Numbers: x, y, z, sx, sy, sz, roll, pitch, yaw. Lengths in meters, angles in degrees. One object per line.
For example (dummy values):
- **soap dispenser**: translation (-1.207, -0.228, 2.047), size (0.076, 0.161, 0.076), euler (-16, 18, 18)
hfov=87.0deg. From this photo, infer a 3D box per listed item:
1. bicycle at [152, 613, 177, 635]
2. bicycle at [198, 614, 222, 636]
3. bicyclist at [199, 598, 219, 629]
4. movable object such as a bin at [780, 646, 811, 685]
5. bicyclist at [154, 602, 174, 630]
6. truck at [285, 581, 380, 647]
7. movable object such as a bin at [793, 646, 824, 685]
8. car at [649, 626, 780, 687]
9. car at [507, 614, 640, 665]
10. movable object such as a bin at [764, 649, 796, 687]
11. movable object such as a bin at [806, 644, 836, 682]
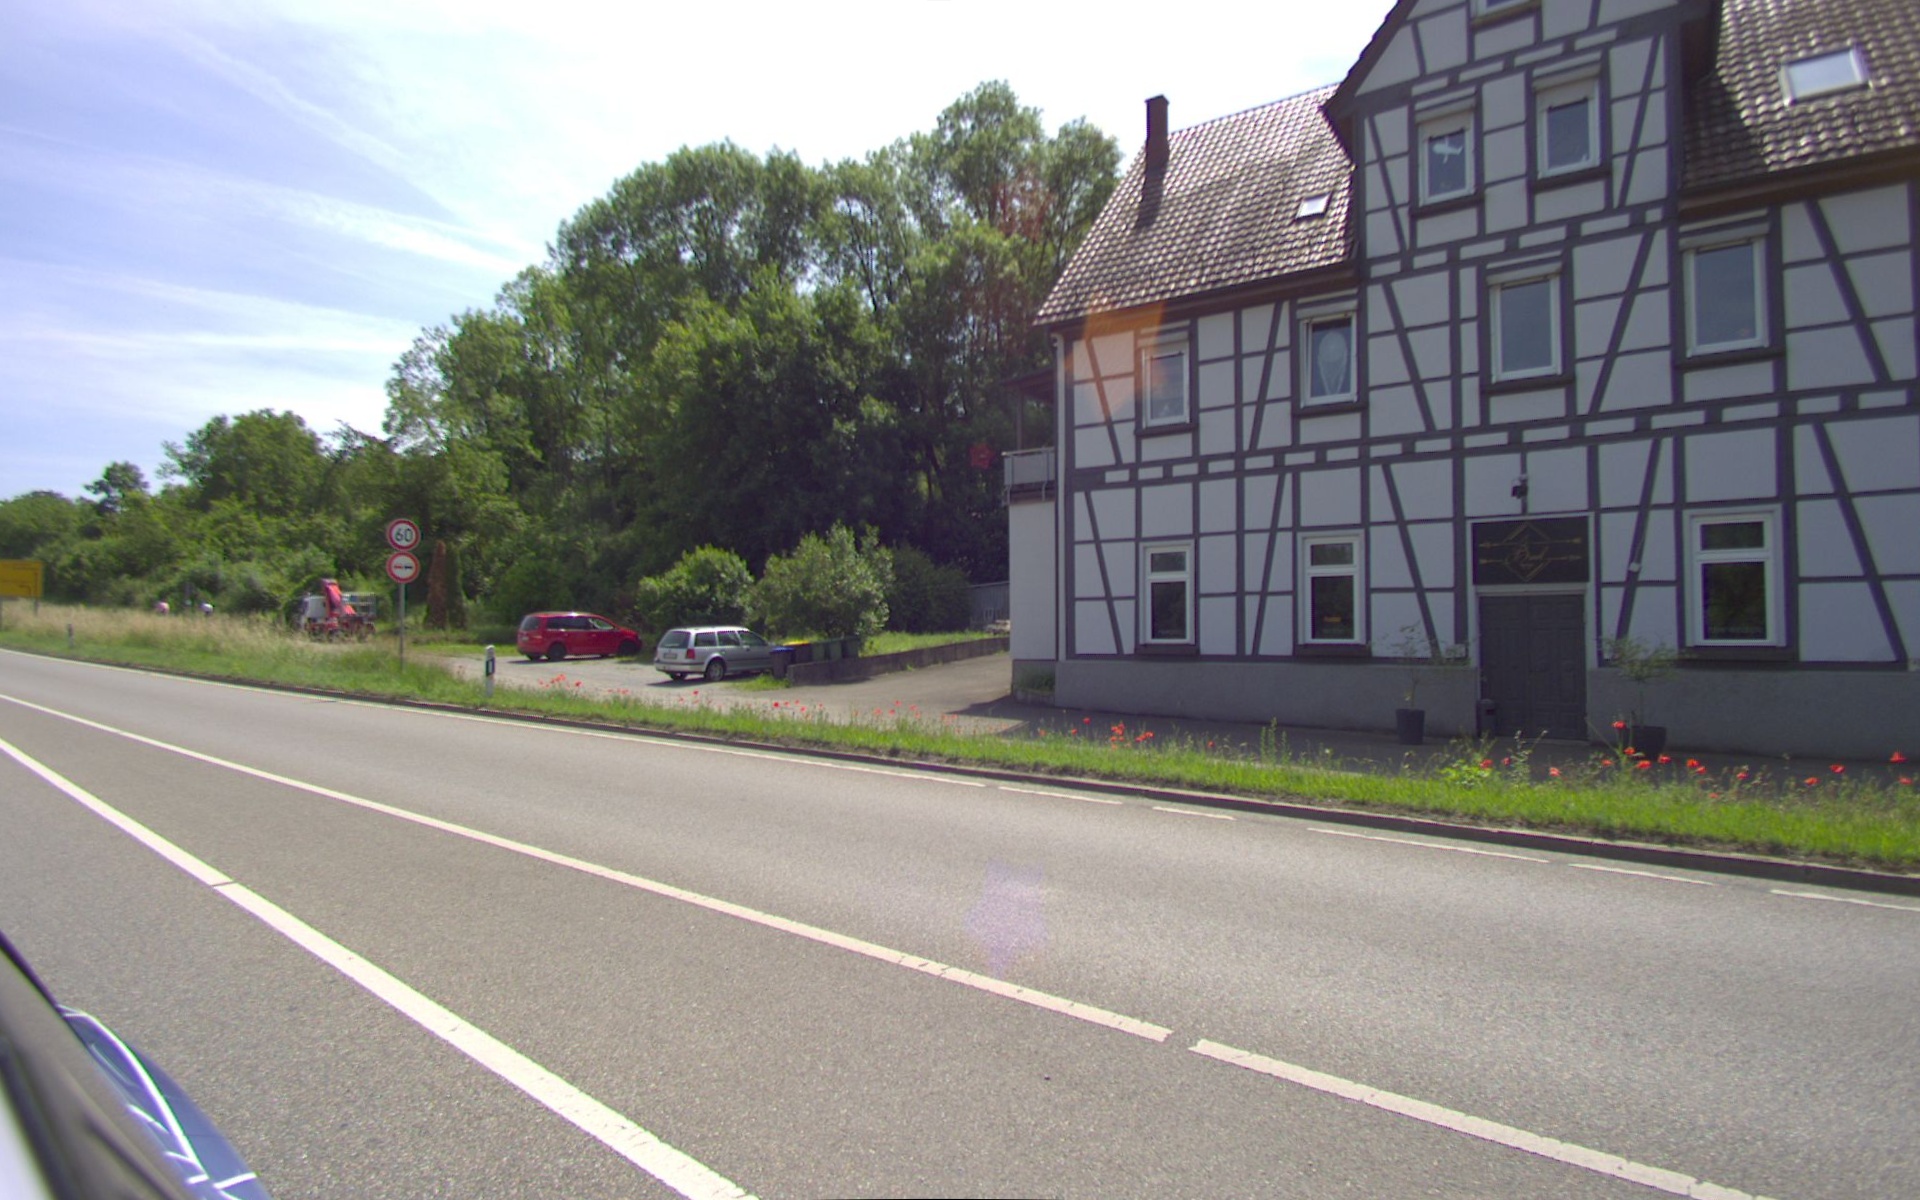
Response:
- **bicycle**: translation (-46.057, 1.388, 58.577), size (2.104, 1.221, 0.741), euler (0, 0, 41)
- **bicycle**: translation (-42.070, 1.368, 56.748), size (2.105, 1.189, 0.740), euler (0, 0, 43)
- **bicyclist**: translation (-42.166, 0.760, 56.838), size (0.936, 1.727, 0.740), euler (0, 0, 43)
- **movable object such as a bin**: translation (-4.381, 1.744, 26.960), size (0.653, 0.977, 0.499), euler (0, 0, 33)
- **bicyclist**: translation (-46.026, 0.934, 58.541), size (0.935, 1.607, 0.740), euler (0, 0, 41)
- **truck**: translation (-30.243, 0.643, 48.660), size (6.771, 2.986, 2.005), euler (0, 0, 42)
- **movable object such as a bin**: translation (-4.109, 1.766, 27.417), size (0.653, 0.978, 0.499), euler (0, 0, 33)
- **car**: translation (-6.774, 1.521, 28.133), size (1.606, 1.476, 3.348), euler (-1, 0, 34)
- **car**: translation (-13.539, 1.328, 35.589), size (1.832, 1.631, 3.985), euler (0, 0, 41)
- **movable object such as a bin**: translation (-4.719, 1.779, 26.529), size (0.653, 0.943, 0.499), euler (0, 0, 33)
- **movable object such as a bin**: translation (-3.839, 1.734, 27.871), size (0.653, 0.984, 0.499), euler (0, 0, 33)
